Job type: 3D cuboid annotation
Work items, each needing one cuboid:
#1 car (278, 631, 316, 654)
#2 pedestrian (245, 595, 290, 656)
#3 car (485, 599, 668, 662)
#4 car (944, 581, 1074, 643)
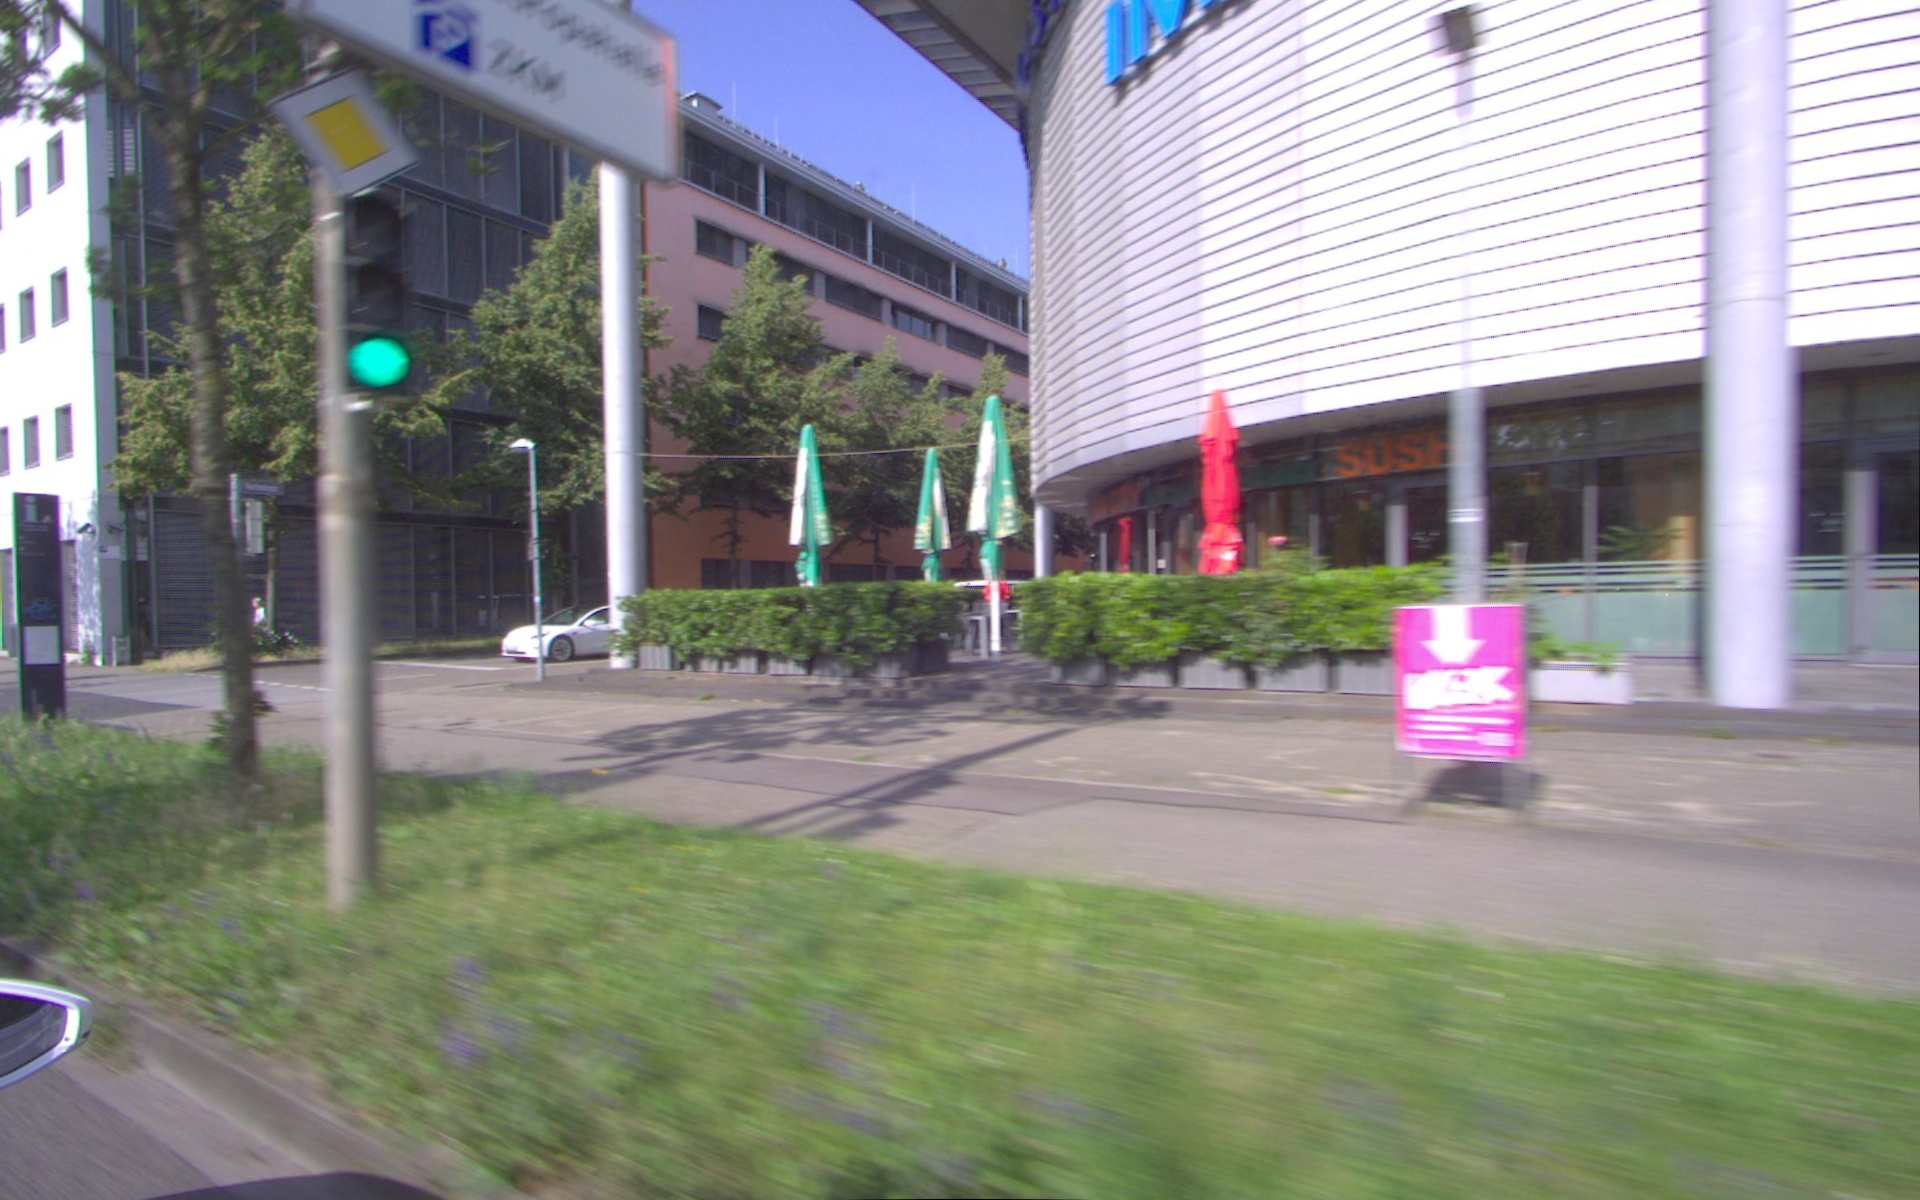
[{"bbox_3d":[-18.639,1.195,28.161,0.491,0.595,0.764,-1,0,30],"label":"car"},{"bbox_3d":[-18.941,0.700,27.405,0.703,1.637,0.775,-1,1,32],"label":"pedestrian"},{"bbox_3d":[-10.166,0.751,26.866,1.874,1.484,4.310,0,1,33],"label":"car"},{"bbox_3d":[1.793,0.398,35.328,2.046,2.040,4.857,-1,0,40],"label":"car"}]
